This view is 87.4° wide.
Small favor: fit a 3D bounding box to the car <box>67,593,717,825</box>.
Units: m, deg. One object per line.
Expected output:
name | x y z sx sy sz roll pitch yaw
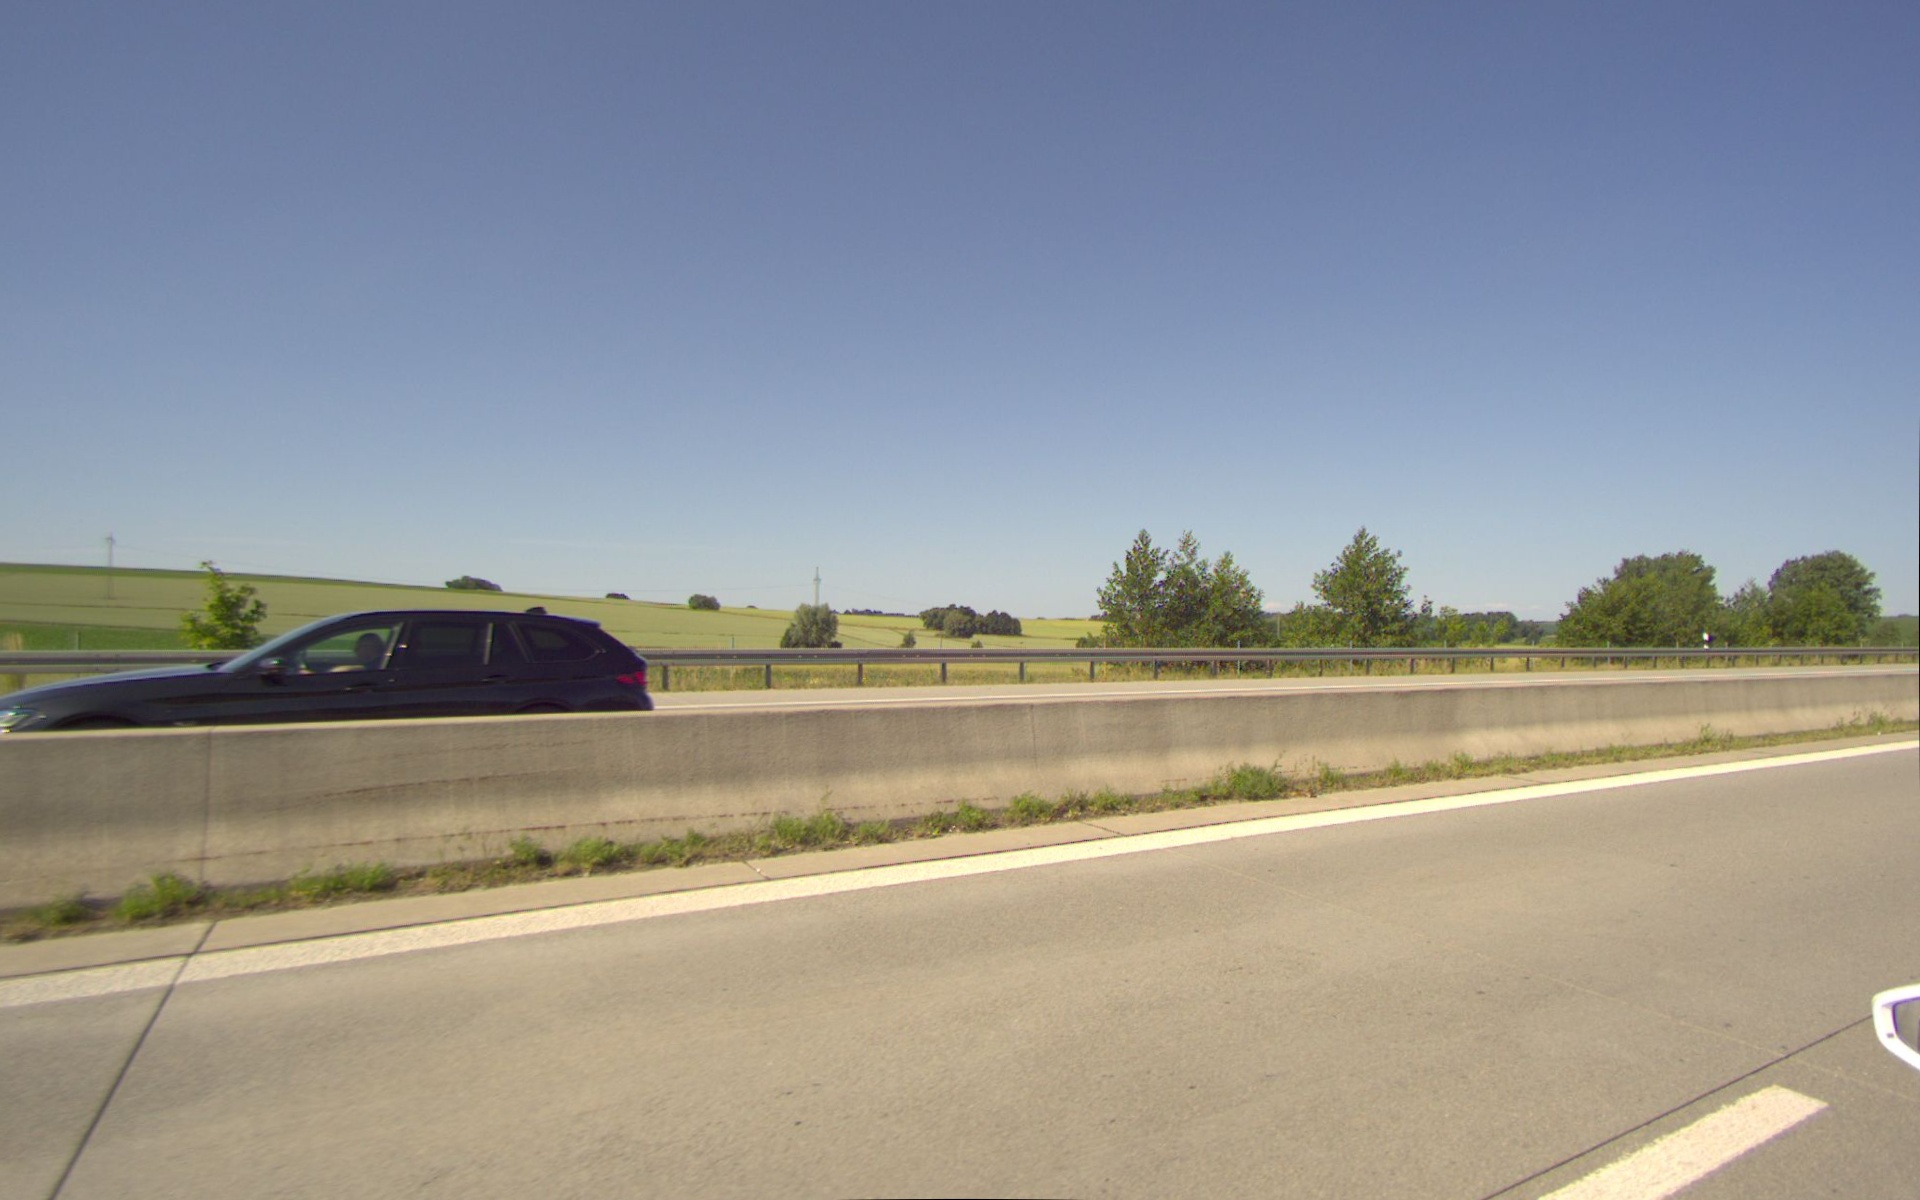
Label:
car | -4.681 0.833 8.933 4.575 1.610 1.701 2 0 -32
